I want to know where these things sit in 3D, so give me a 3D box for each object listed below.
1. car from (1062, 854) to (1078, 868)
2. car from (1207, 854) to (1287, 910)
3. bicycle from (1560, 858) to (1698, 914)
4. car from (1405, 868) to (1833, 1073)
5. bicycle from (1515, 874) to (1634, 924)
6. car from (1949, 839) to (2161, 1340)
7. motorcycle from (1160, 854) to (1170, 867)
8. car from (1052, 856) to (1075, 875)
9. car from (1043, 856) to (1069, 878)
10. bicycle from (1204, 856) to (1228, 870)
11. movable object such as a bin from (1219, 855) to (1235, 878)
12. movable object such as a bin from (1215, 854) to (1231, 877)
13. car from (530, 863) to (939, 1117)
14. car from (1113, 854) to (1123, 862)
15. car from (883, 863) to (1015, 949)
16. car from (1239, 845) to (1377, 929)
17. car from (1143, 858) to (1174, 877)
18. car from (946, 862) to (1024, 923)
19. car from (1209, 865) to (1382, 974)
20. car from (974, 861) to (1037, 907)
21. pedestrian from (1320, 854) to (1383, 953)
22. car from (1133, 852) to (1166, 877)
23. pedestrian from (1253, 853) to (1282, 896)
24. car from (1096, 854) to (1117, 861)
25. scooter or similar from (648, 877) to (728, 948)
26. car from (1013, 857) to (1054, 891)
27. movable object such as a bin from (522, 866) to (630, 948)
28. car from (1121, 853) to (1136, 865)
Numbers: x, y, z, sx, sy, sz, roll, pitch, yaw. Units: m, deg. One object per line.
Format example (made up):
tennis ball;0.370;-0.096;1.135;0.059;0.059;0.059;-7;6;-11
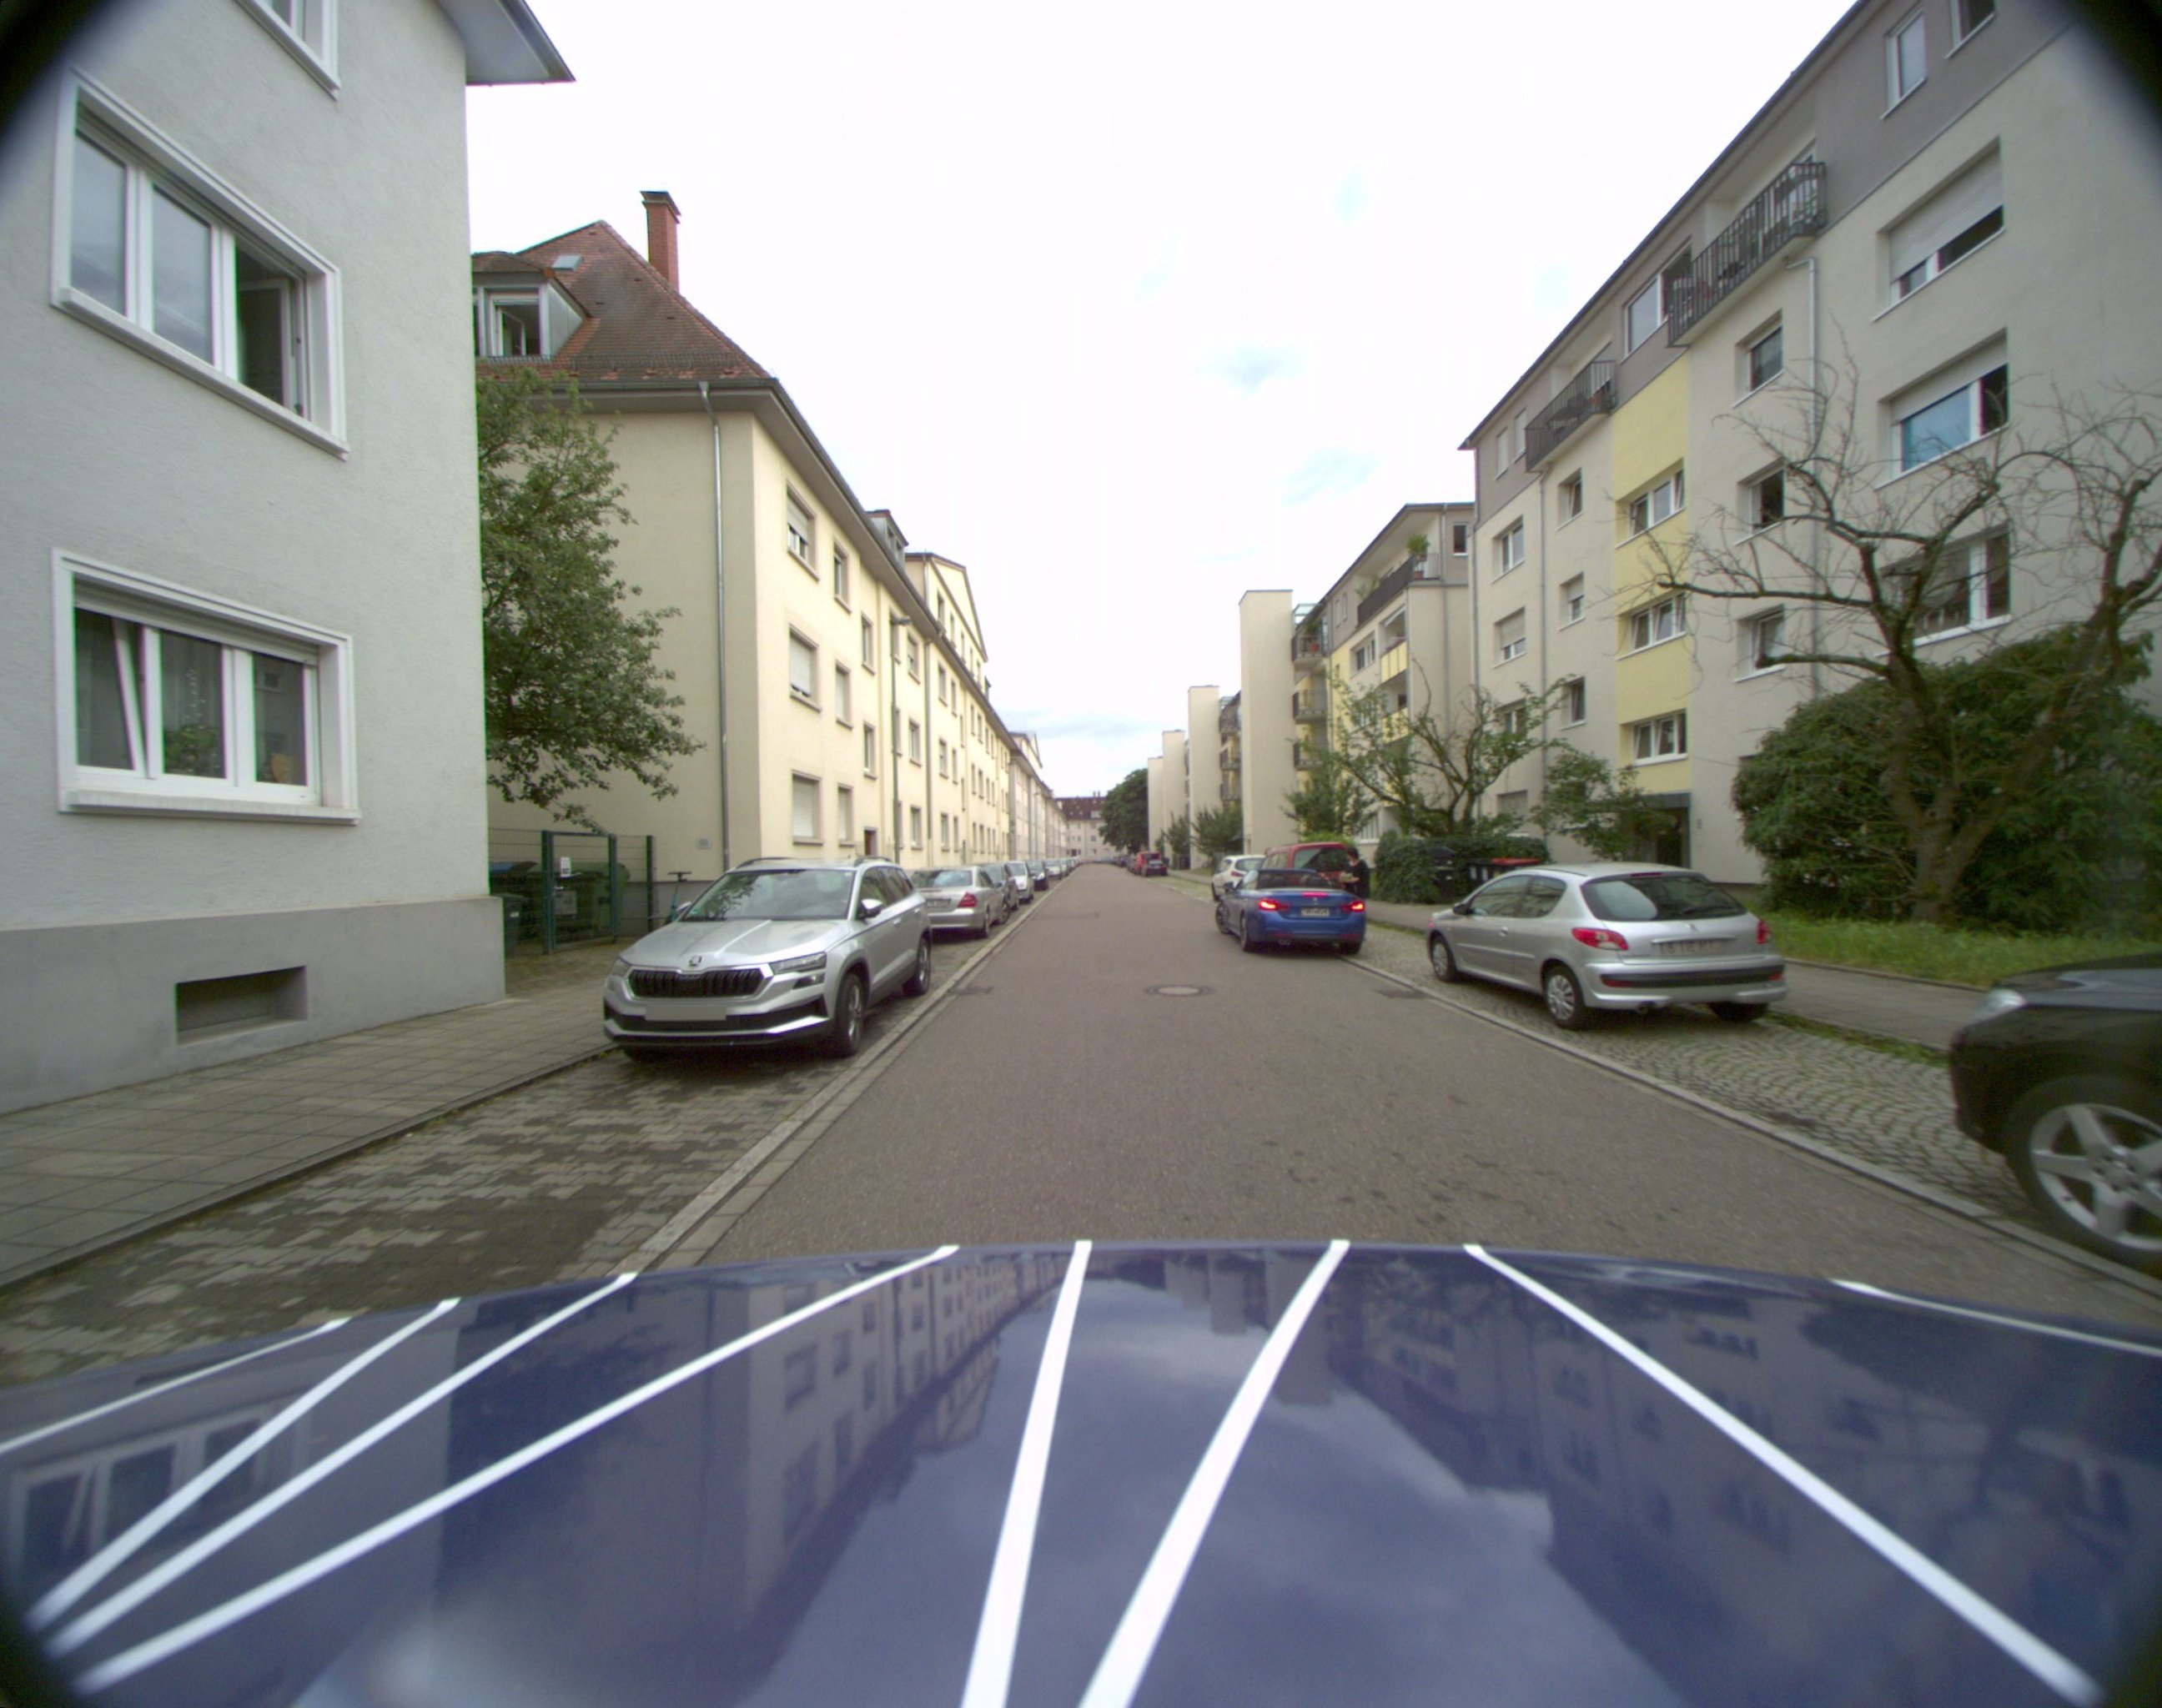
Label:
car;-1.309;0.804;93.096;1.788;1.590;3.805;-2;0;2
car;5.232;0.825;24.408;1.725;1.561;3.870;-3;0;1
bicycle;10.946;0.597;15.349;0.779;0.993;2.756;-1;0;0
car;5.056;0.959;7.895;1.749;1.456;3.786;-3;0;1
bicycle;9.787;0.856;15.233;0.572;0.843;2.756;-1;0;0
car;4.689;0.798;1.022;1.900;1.730;4.474;-4;0;1
motorcycle;9.070;0.666;82.081;0.871;1.299;2.420;-3;0;1
car;-1.461;0.980;63.996;1.729;1.483;4.060;-1;0;1
car;-1.773;0.894;54.311;1.729;1.508;4.060;0;0;0
bicycle;11.418;0.788;64.259;1.839;1.112;0.605;-2;0;0
movable object such as a bin;9.180;0.780;47.843;0.805;1.421;1.288;-2;0;5
movable object such as a bin;9.193;0.745;49.228;0.805;1.421;1.288;-2;0;4
car;-2.690;0.931;7.101;1.825;1.632;4.091;-1;0;2
car;7.422;0.791;152.555;2.000;1.566;4.210;-3;0;1
car;-2.582;0.977;16.012;1.729;1.468;4.505;-1;0;3
car;5.417;0.718;18.765;1.962;1.760;4.361;-2;0;-1
car;5.925;0.995;58.808;1.875;1.316;4.361;-3;0;0
car;-2.612;1.011;21.454;1.607;1.468;3.869;-2;0;1
car;3.487;0.984;13.259;1.849;1.443;4.501;-2;0;2
car;-2.576;0.994;26.828;1.853;1.441;3.832;-2;0;-1
pedestrian;4.832;0.853;13.600;0.743;1.692;0.795;-1;1;-16
car;5.837;0.868;65.101;2.157;1.942;4.921;-3;0;-1
pedestrian;7.069;0.769;28.902;0.802;1.600;0.946;-1;0;-3
car;5.890;0.896;175.380;4.545;1.551;1.565;-1;0;5
scooter or similar;-7.149;1.046;13.840;1.278;1.238;0.523;-1;0;18
car;-2.281;0.931;37.005;1.729;1.508;4.060;-1;0;0
movable object such as a bin;-9.049;0.926;13.676;1.034;1.371;1.306;-1;0;1
car;6.498;0.717;105.288;1.804;1.617;4.472;-2;0;1
